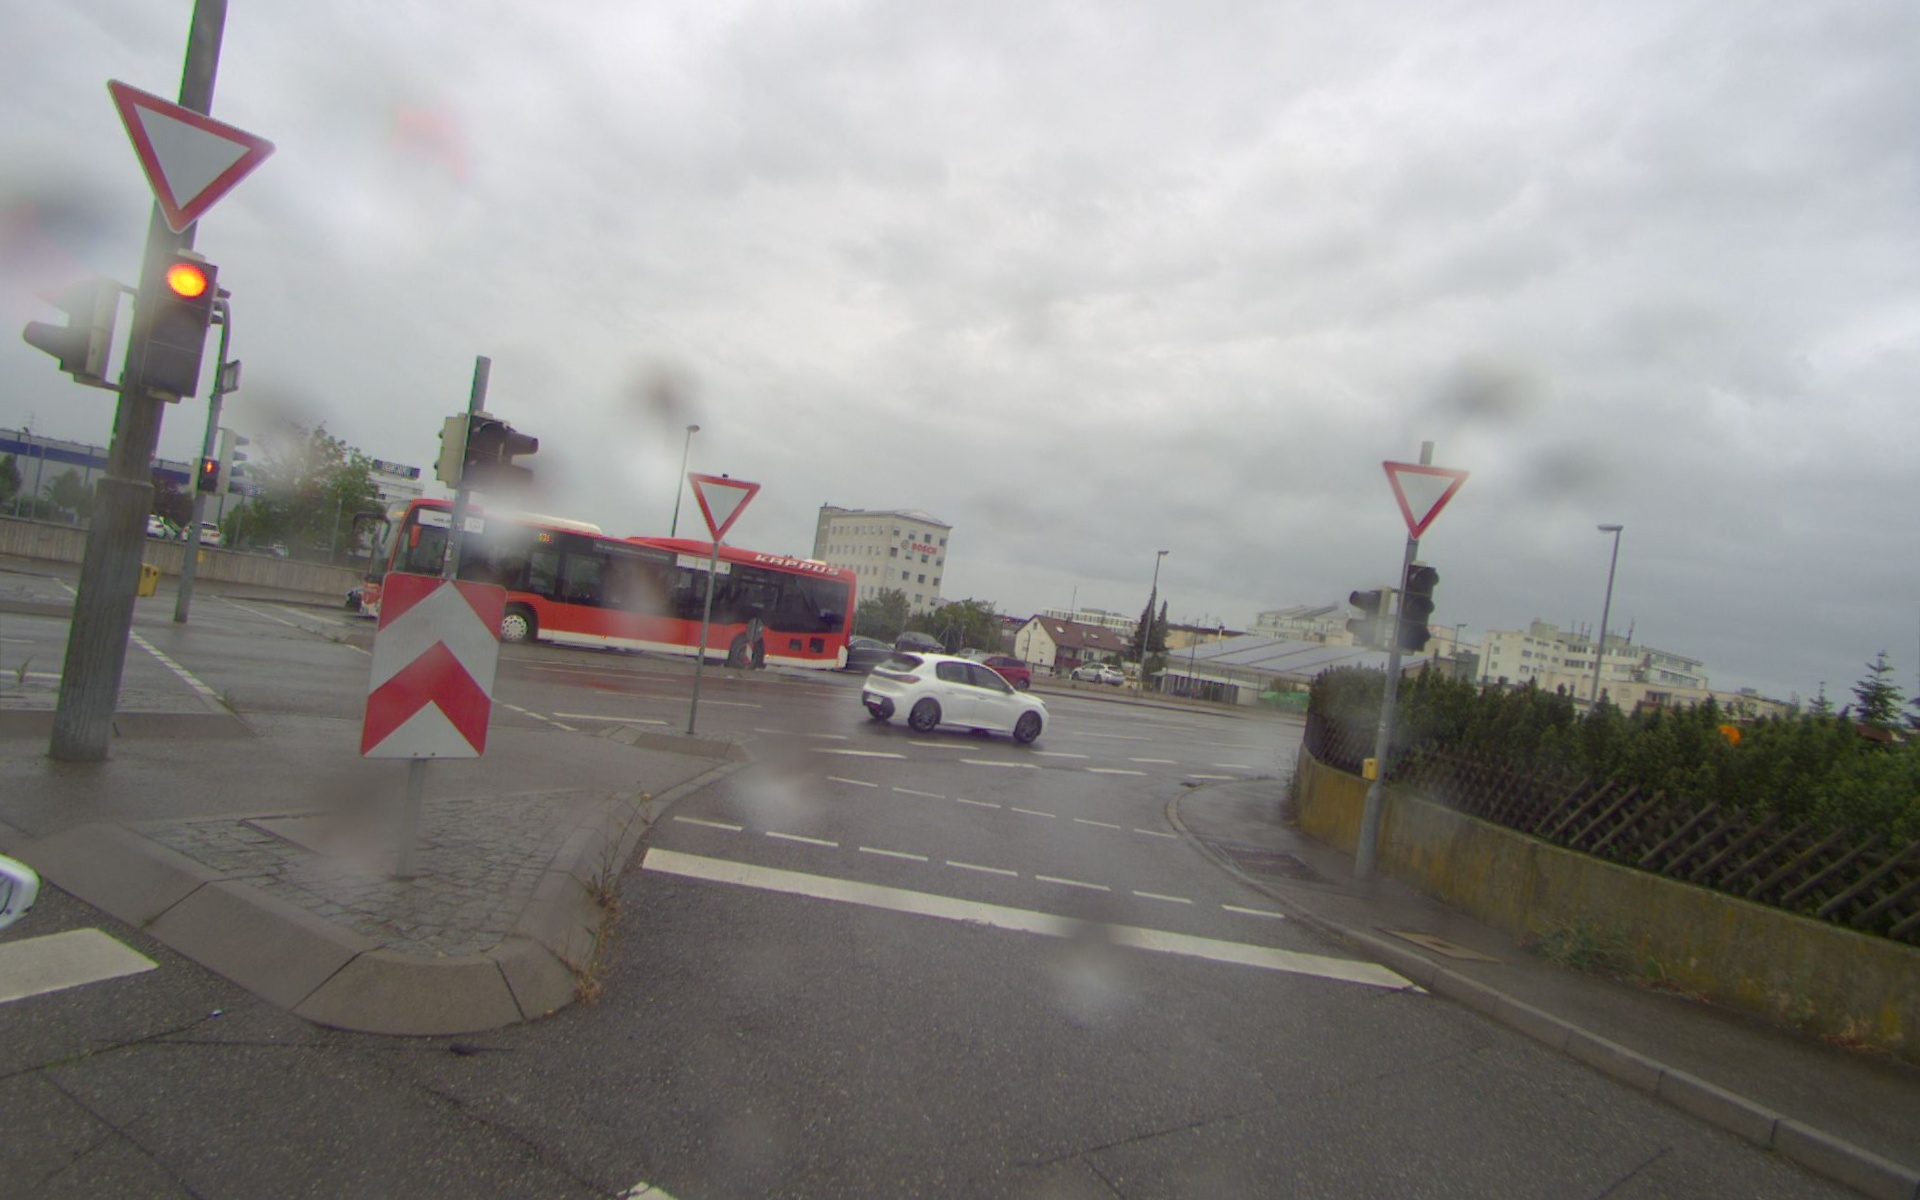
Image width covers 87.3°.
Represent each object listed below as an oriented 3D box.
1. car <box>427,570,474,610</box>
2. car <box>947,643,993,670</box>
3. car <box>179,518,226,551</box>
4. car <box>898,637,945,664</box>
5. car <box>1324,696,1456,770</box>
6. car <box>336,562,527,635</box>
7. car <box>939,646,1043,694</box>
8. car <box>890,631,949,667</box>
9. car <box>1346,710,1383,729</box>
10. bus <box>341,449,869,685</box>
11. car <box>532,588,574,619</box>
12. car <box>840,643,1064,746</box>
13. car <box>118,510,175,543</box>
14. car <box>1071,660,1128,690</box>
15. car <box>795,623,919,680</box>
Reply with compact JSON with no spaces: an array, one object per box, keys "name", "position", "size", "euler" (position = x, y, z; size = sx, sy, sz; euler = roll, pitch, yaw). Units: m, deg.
[{"name":"car","position":[-30.892,-0.637,60.941],"size":[1.734,2.037,3.786],"euler":[8,-2,-37]},{"name":"car","position":[0.807,4.677,83.739],"size":[1.980,1.636,3.970],"euler":[9,-2,-30]},{"name":"car","position":[-43.796,-3.757,58.215],"size":[1.847,1.543,4.066],"euler":[8,-2,-35]},{"name":"car","position":[-3.161,4.061,81.452],"size":[1.980,1.636,3.970],"euler":[9,-2,-30]},{"name":"car","position":[13.378,4.146,31.163],"size":[4.456,1.865,1.976],"euler":[9,-2,-43]},{"name":"car","position":[-14.786,-0.011,28.282],"size":[4.367,1.370,1.804],"euler":[10,-3,-42]},{"name":"car","position":[1.335,2.951,42.253],"size":[3.948,1.525,1.853],"euler":[9,-2,-36]},{"name":"car","position":[-2.502,2.978,61.662],"size":[1.912,1.684,3.869],"euler":[9,-2,-29]},{"name":"car","position":[41.242,12.155,102.516],"size":[3.616,1.436,1.720],"euler":[10,-2,-36]},{"name":"bus","position":[-8.312,-0.416,25.766],"size":[12.223,3.614,2.952],"euler":[12,-4,-41]},{"name":"car","position":[-31.977,0.281,79.052],"size":[1.983,2.037,3.962],"euler":[8,-2,-36]},{"name":"car","position":[-0.124,1.879,19.852],"size":[3.945,1.525,1.854],"euler":[9,-2,-35]},{"name":"car","position":[-45.583,-4.110,56.447],"size":[1.805,1.450,4.071],"euler":[8,-2,-32]},{"name":"car","position":[9.686,5.213,70.110],"size":[1.976,1.561,3.977],"euler":[9,-2,-25]},{"name":"car","position":[-3.864,1.976,38.181],"size":[4.367,1.555,1.804],"euler":[10,-3,-42]}]
